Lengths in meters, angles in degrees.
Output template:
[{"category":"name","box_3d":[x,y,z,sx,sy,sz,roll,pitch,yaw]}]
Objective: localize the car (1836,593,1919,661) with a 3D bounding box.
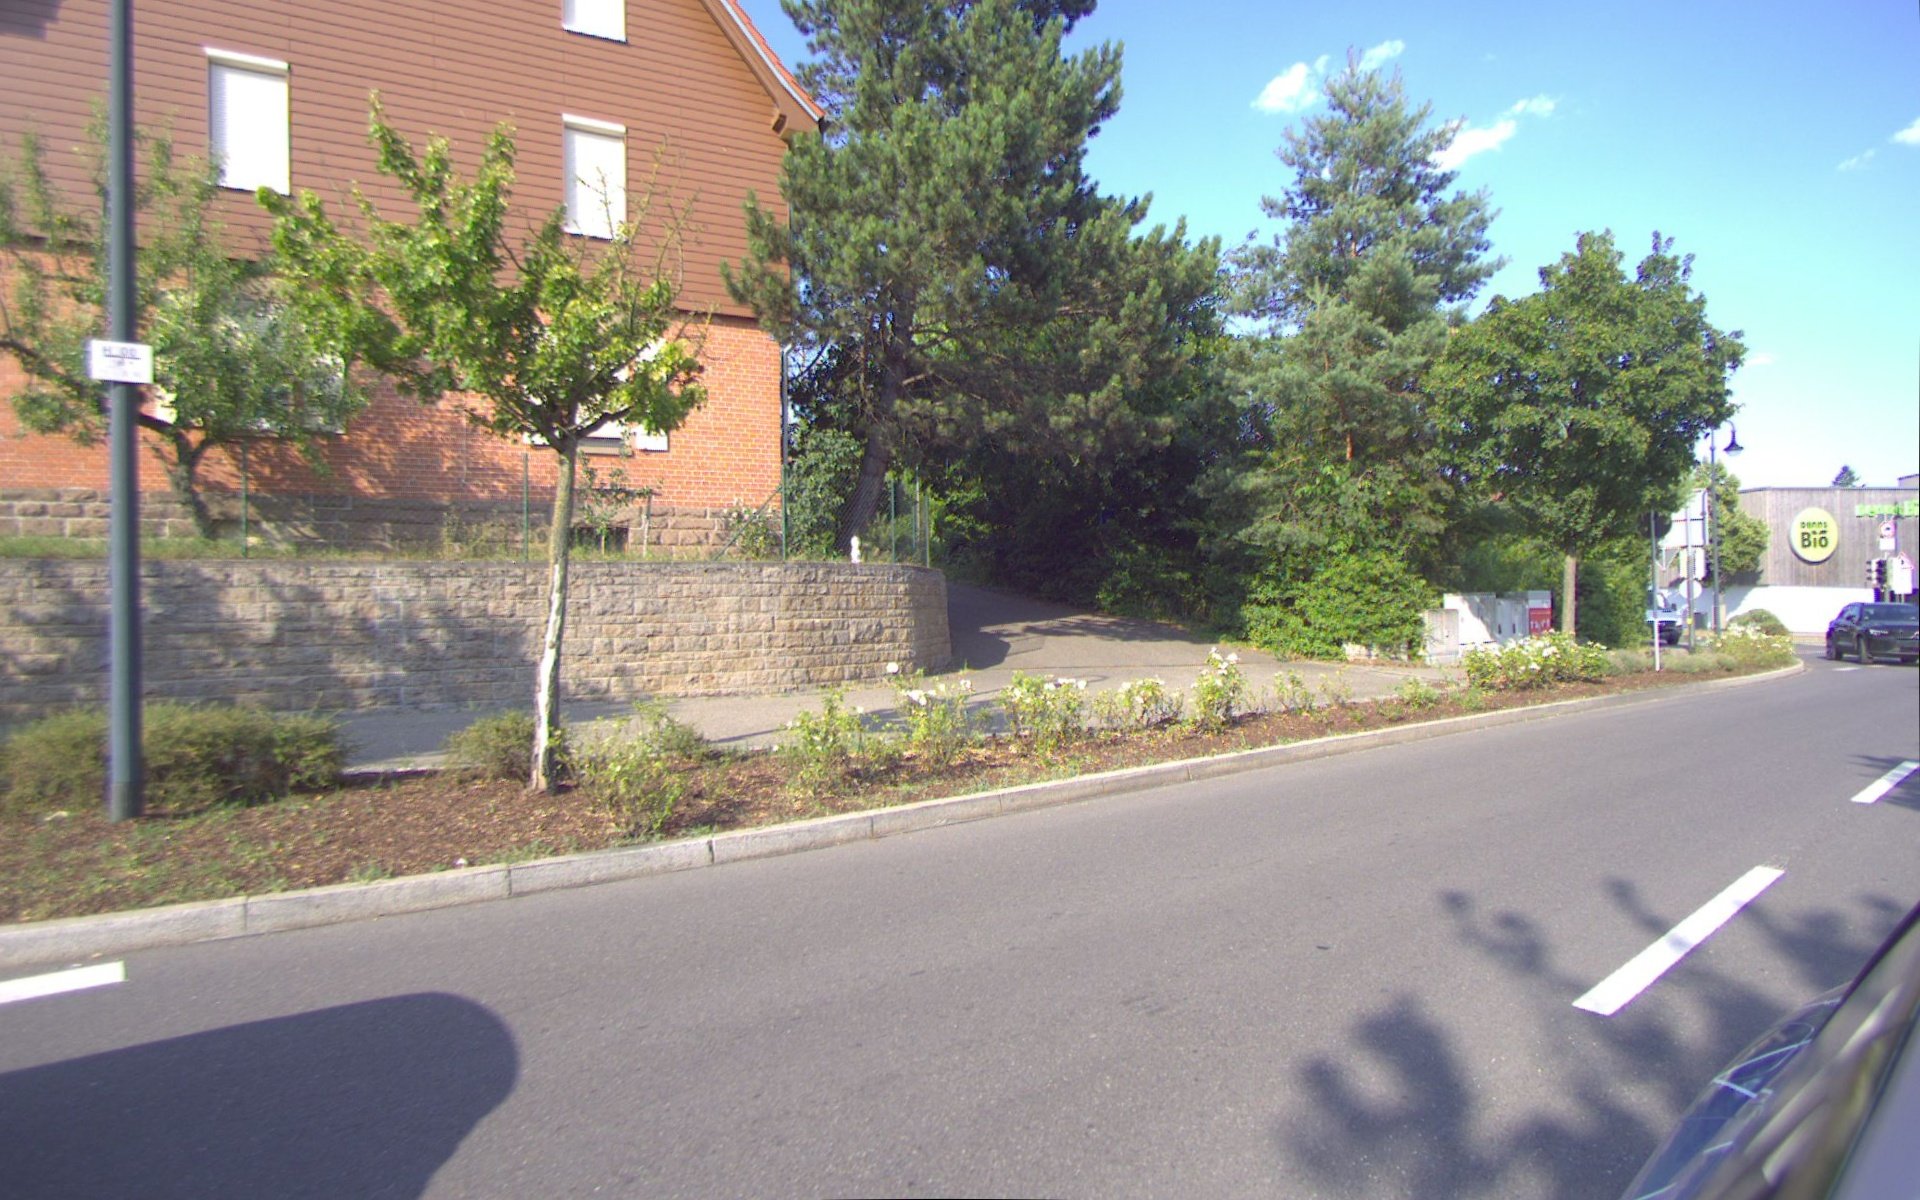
[{"category":"car","box_3d":[24.629,0.653,26.423,1.871,1.629,4.085,0,1,30]}]

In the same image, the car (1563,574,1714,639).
[{"category":"car","box_3d":[28.692,0.209,43.125,2.328,2.579,6.191,0,1,1]}]
